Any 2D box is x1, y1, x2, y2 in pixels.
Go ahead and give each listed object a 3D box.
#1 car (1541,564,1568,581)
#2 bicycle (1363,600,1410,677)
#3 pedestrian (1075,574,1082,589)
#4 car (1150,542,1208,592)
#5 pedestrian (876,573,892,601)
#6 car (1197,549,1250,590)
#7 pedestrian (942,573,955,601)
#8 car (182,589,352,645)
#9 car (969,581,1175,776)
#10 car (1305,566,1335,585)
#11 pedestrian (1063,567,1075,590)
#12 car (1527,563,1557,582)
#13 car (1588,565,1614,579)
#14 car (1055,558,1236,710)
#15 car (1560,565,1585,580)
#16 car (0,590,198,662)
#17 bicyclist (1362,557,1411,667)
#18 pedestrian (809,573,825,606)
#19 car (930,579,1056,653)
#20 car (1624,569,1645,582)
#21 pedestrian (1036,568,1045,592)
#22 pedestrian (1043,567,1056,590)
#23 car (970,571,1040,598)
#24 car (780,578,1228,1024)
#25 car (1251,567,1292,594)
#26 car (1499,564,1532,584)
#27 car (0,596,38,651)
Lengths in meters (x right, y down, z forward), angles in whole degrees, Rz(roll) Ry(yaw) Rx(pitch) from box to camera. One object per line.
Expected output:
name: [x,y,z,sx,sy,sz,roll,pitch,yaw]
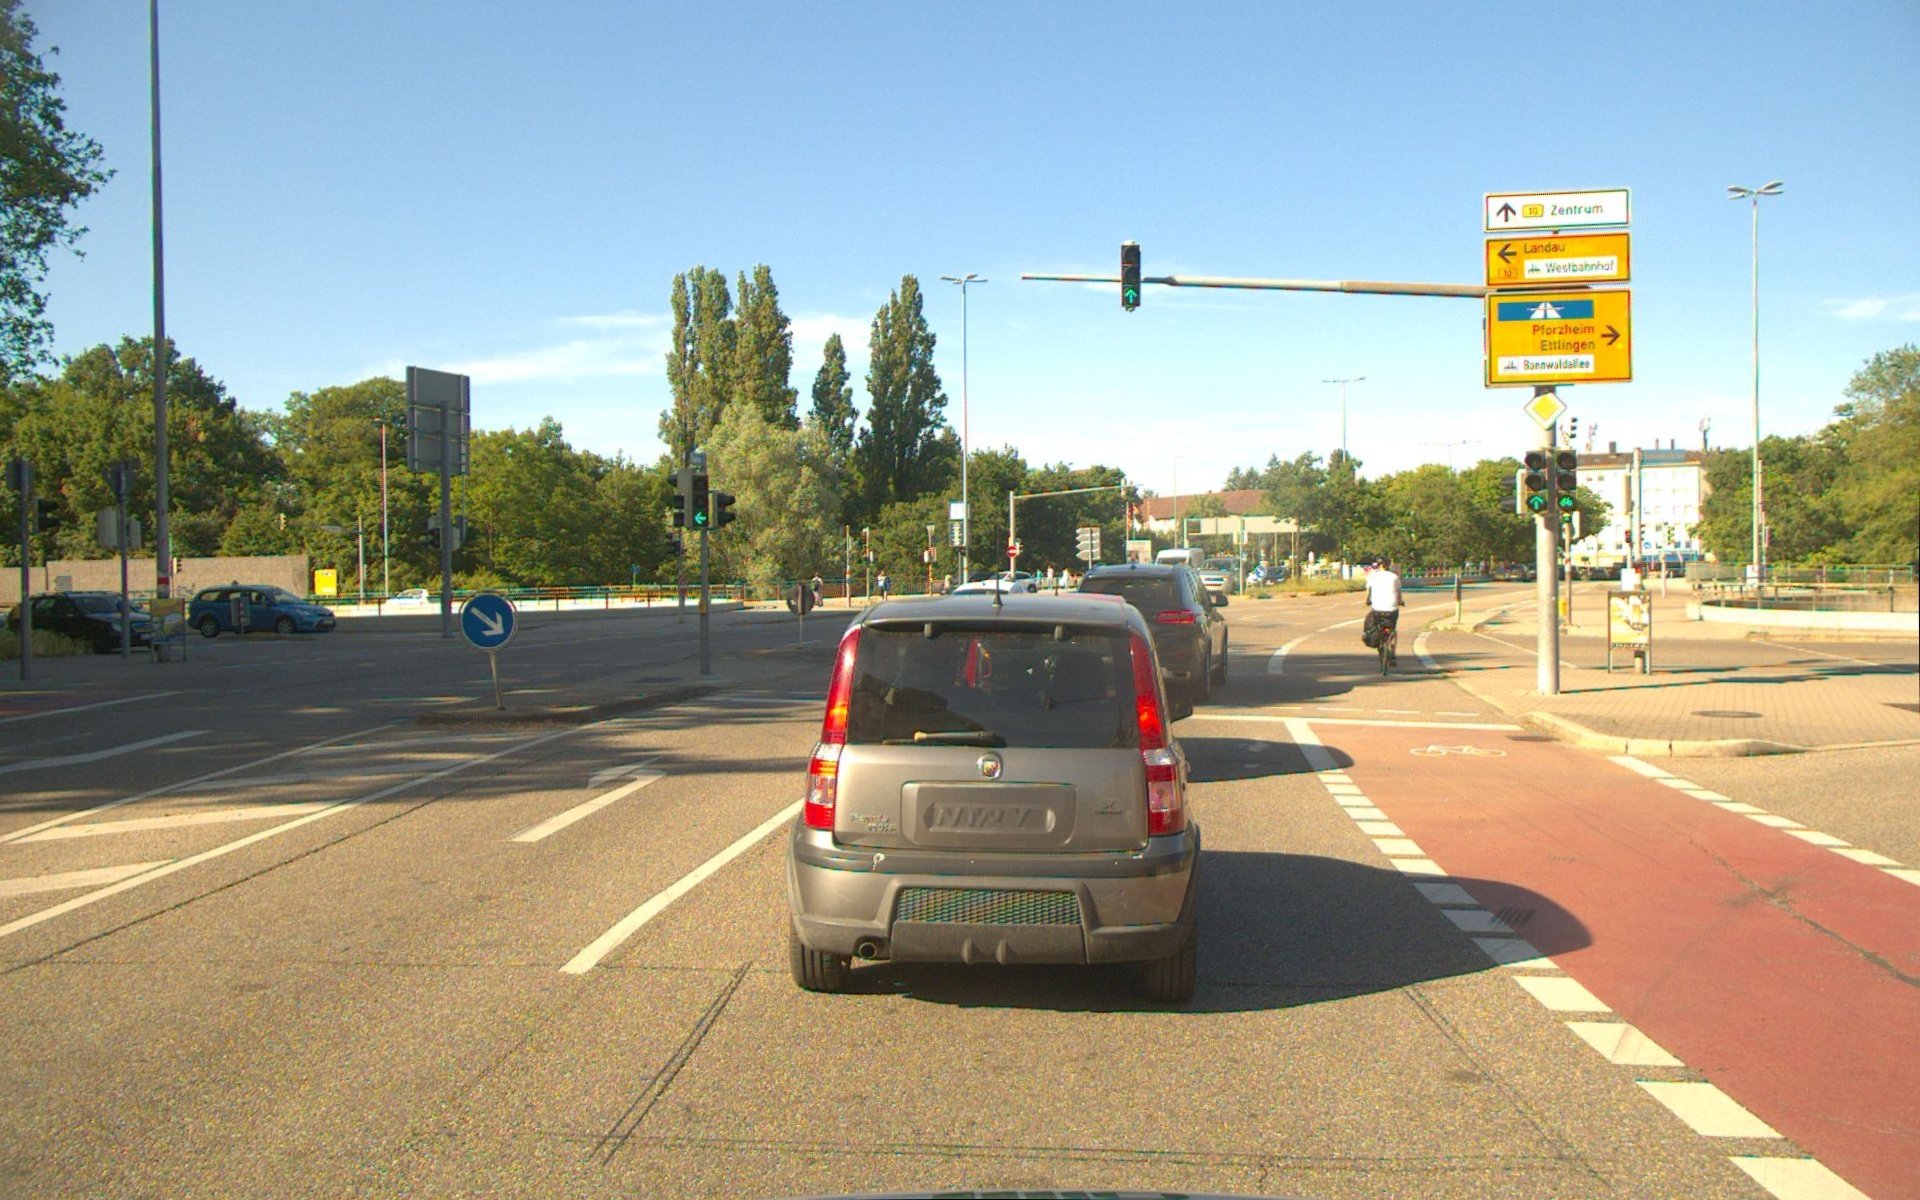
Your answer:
car: [57.120,-2.660,158.814,1.908,1.555,4.092,0,1,28]
bicycle: [6.701,0.579,26.037,0.676,1.121,1.828,0,1,14]
pedestrian: [8.984,-1.423,125.664,0.415,1.156,0.397,0,-1,24]
car: [12.065,-1.819,90.763,1.896,2.621,6.091,-1,1,19]
pedestrian: [-4.280,-0.732,92.744,0.698,1.574,0.725,-2,-1,-16]
car: [13.845,-1.620,86.804,1.896,2.043,4.933,-1,1,19]
pedestrian: [-0.678,-0.736,95.513,0.547,1.574,0.573,-2,-1,-16]
car: [-20.812,0.501,49.735,4.348,1.567,1.953,-1,1,12]
car: [1.016,0.595,14.787,1.583,1.488,3.753,-1,1,4]
car: [36.514,-2.447,167.749,1.956,1.847,3.993,1,-1,29]
pedestrian: [8.294,-1.633,125.933,0.706,1.670,0.672,0,-1,24]
car: [50.480,-2.415,143.465,1.908,1.555,4.092,0,1,28]
car: [74.040,-3.289,191.056,1.913,1.555,4.082,0,1,36]
car: [2.625,0.385,22.510,1.904,1.872,4.156,-1,1,14]
car: [62.829,-2.840,169.644,1.908,1.555,4.092,0,1,28]
car: [-21.090,0.616,39.966,4.668,1.649,1.953,-1,1,15]
bicyclist: [6.690,0.168,25.962,0.708,1.688,1.114,0,1,14]
pedestrian: [-6.428,-0.476,74.457,0.666,1.488,0.702,-1,1,-7]
car: [0.768,0.290,35.139,1.742,1.439,4.323,0,1,14]
car: [79.972,-2.897,196.144,1.908,1.555,4.092,0,1,28]
pedestrian: [5.956,-1.476,121.979,0.488,1.731,0.500,0,-1,24]
pedestrian: [6.558,-1.584,121.210,0.777,1.693,0.626,0,-1,41]
car: [2.782,-0.971,101.777,4.292,1.562,1.757,-2,2,-42]
car: [0.297,0.681,7.750,1.583,1.542,3.822,0,1,4]
car: [19.502,-1.244,103.478,1.896,1.650,4.508,-1,1,19]
car: [44.177,-2.076,131.477,1.907,1.555,4.093,0,1,27]
car: [-26.454,0.621,43.183,4.404,1.381,1.879,0,1,24]
